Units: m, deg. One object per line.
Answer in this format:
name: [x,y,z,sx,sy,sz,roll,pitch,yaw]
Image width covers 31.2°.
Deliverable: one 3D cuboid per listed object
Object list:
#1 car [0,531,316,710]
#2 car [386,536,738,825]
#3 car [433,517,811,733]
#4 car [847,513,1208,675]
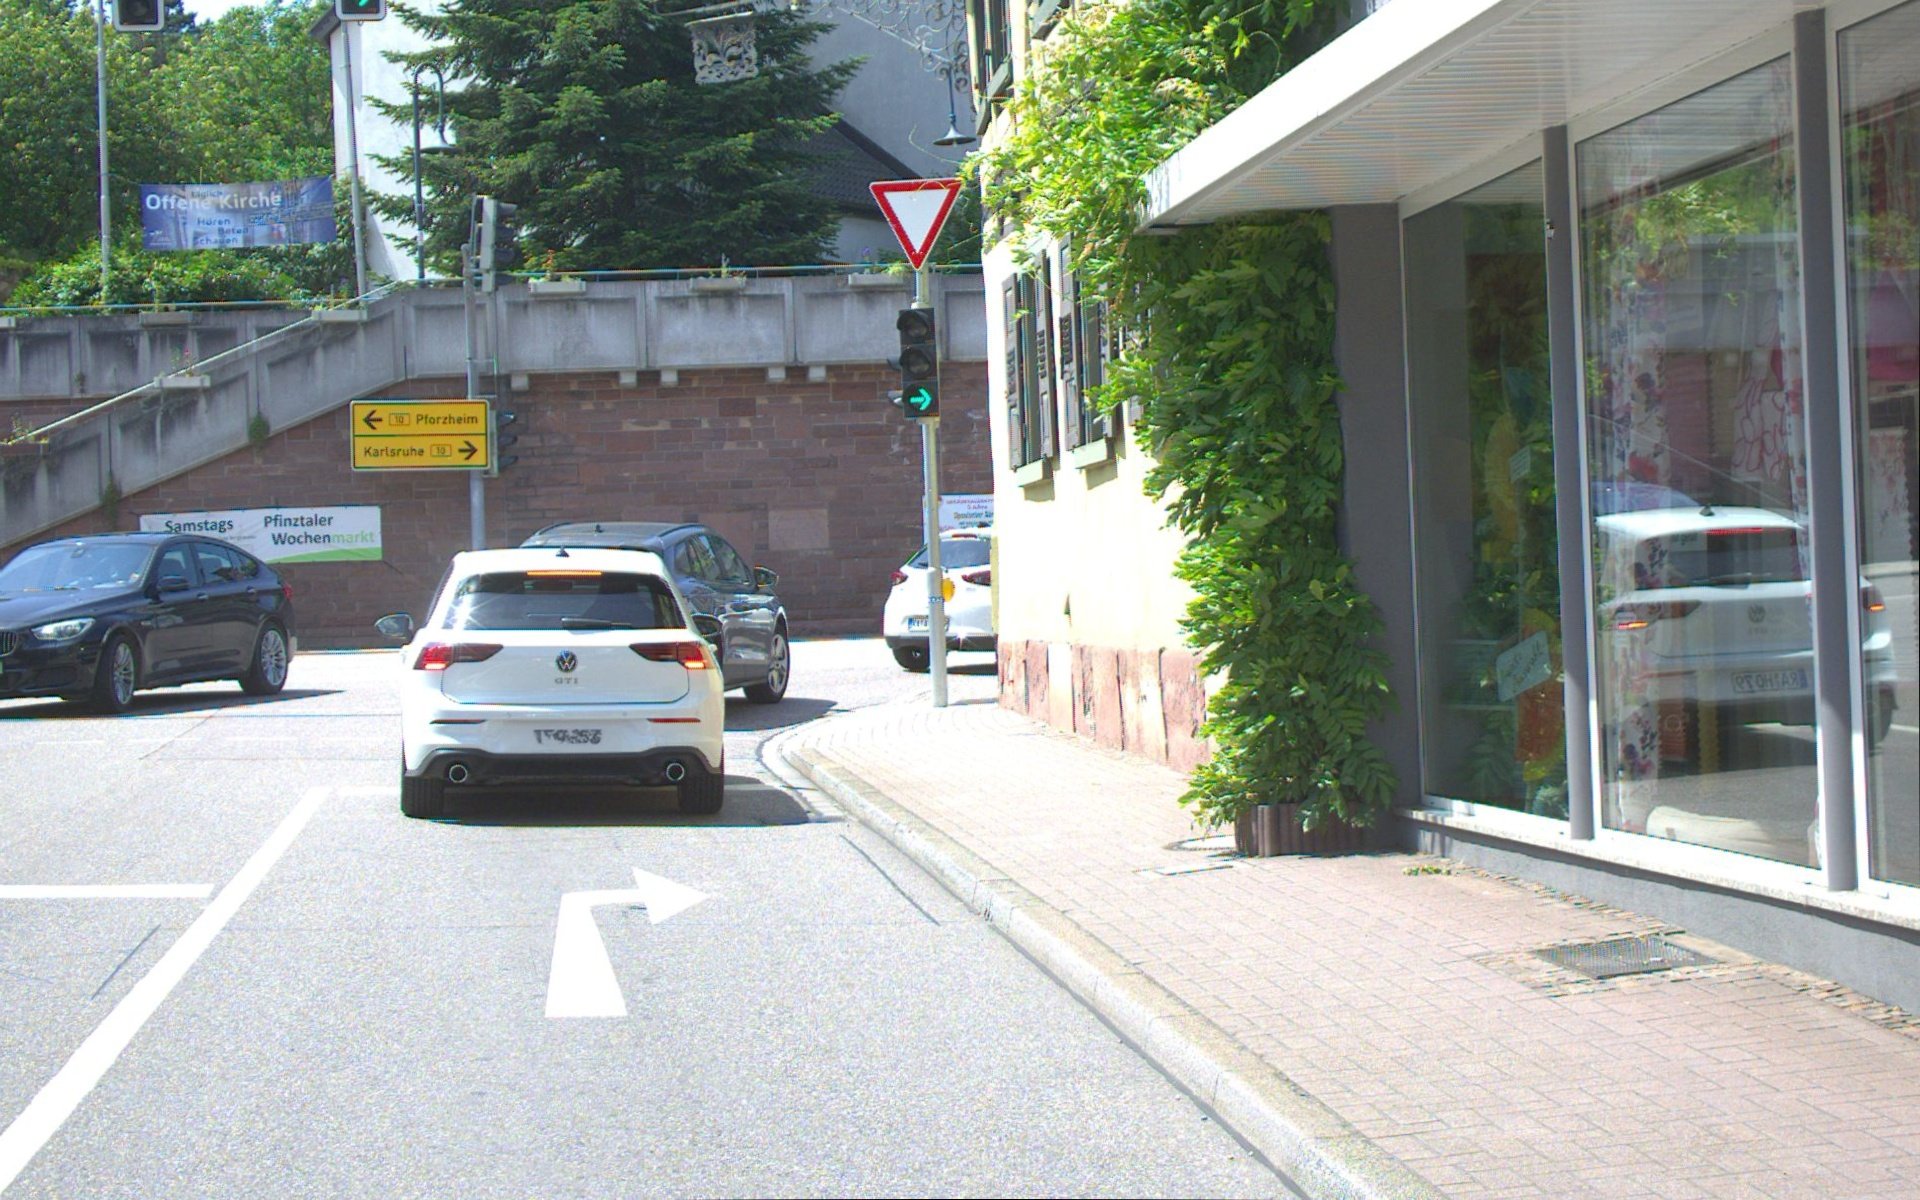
car: [-7.691,0.118,31.107,1.798,1.482,4.794,0,1,15]
car: [-2.283,0.399,19.814,1.782,1.453,3.864,-2,1,-6]
car: [-2.725,0.150,28.845,1.950,1.577,4.324,0,3,11]
car: [0.765,-0.113,35.846,1.774,1.491,3.979,1,3,36]
